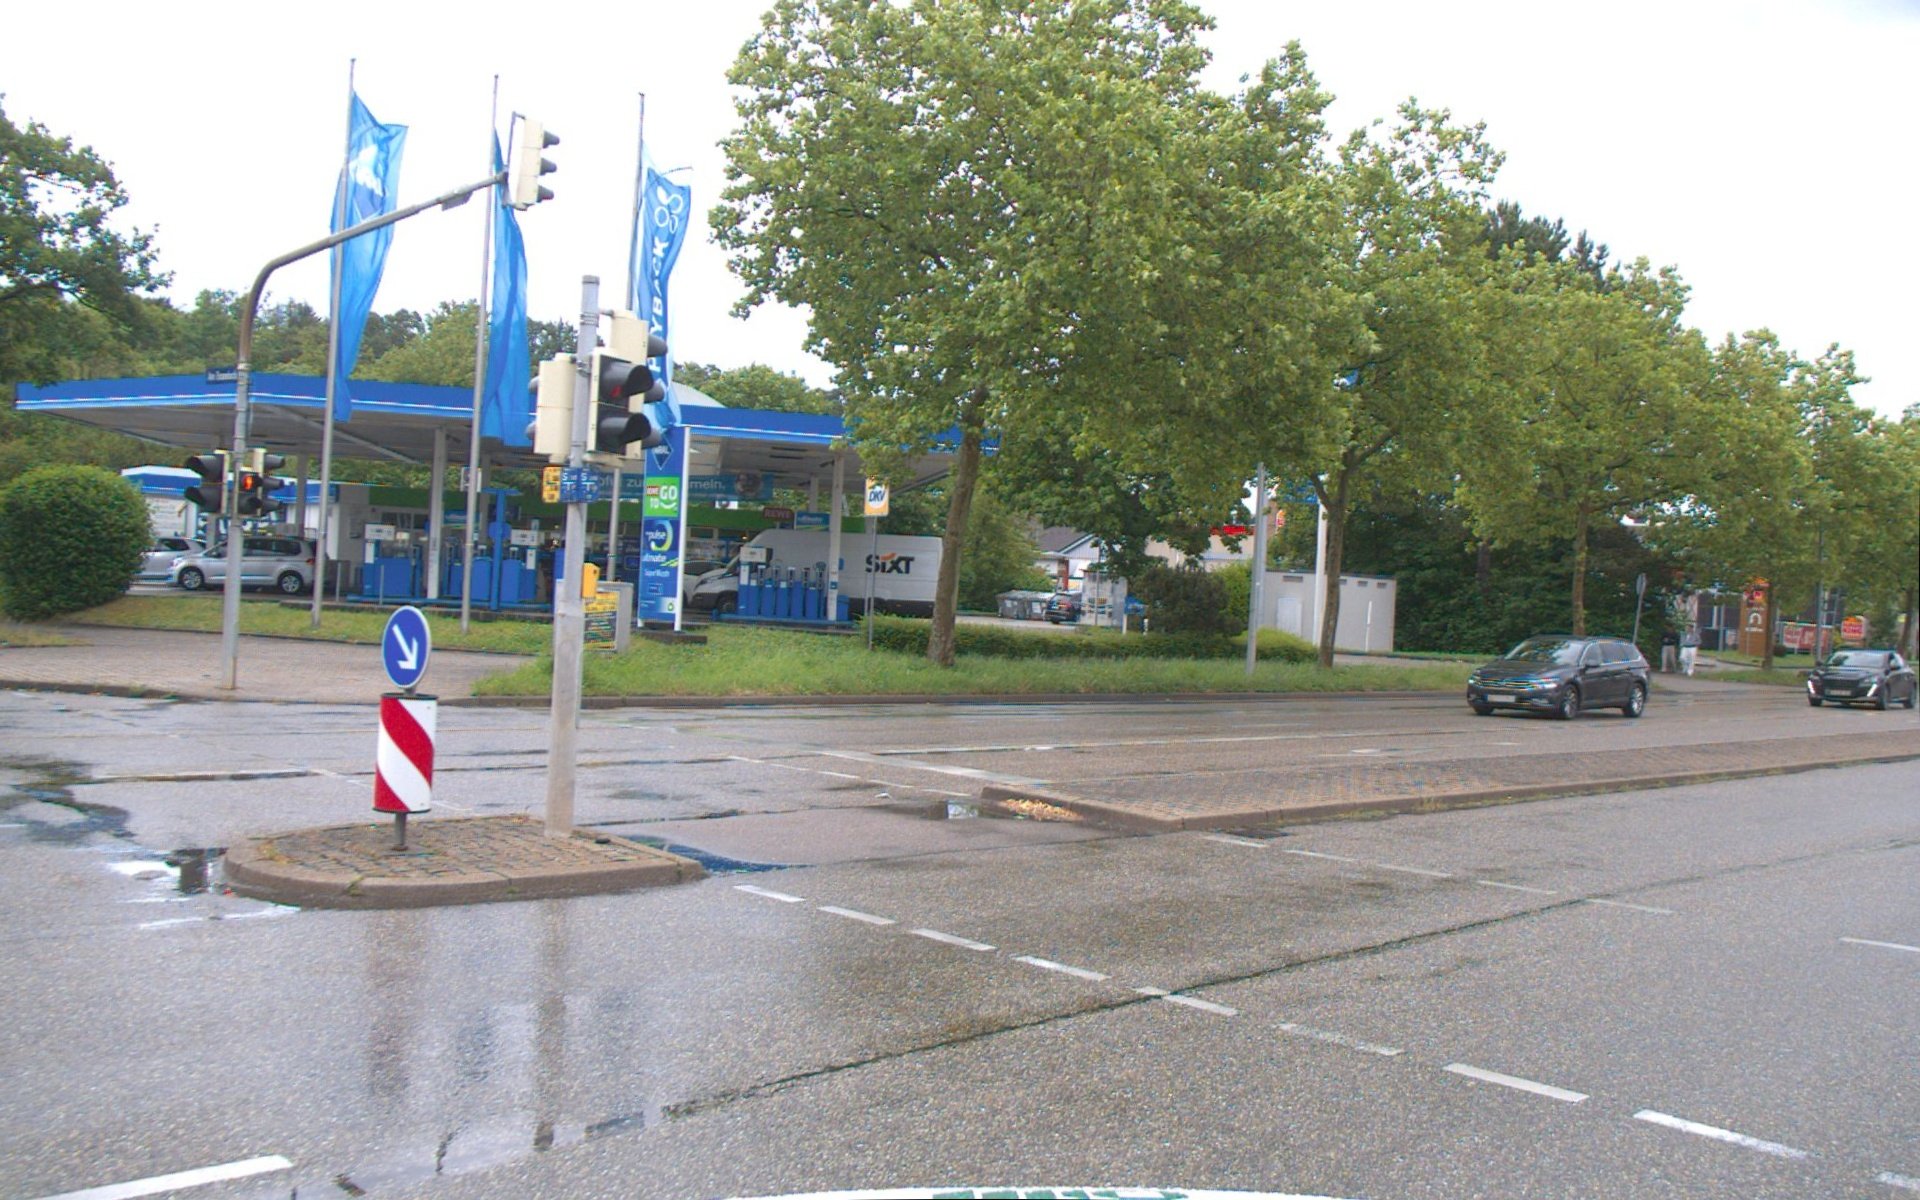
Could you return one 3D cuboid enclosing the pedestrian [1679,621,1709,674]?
[{"bbox_3d":[25.799,1.681,58.158,0.574,1.797,0.661,3,1,-26],"label":"pedestrian"}]

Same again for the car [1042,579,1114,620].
[{"bbox_3d":[5.799,-0.015,80.998,1.956,1.870,3.992,2,0,29],"label":"car"}]

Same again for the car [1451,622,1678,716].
[{"bbox_3d":[11.176,1.265,30.407,4.690,1.535,1.969,3,-1,-42],"label":"car"}]

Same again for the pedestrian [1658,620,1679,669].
[{"bbox_3d":[25.066,1.573,58.522,0.504,1.712,0.537,2,-1,42],"label":"pedestrian"}]

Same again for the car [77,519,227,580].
[{"bbox_3d":[-25.917,-1.598,53.166,3.914,1.758,1.791,2,0,-10],"label":"car"}]

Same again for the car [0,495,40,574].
[{"bbox_3d":[-24.181,-1.636,40.163,3.627,1.828,1.807,2,-1,37],"label":"car"}]

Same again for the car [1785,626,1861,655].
[{"bbox_3d":[44.071,2.062,84.497,1.279,1.175,3.139,3,3,-41],"label":"car"}]

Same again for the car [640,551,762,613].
[{"bbox_3d":[-7.961,-0.551,51.057,3.482,1.609,1.687,4,-1,-5],"label":"car"}]

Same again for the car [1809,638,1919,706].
[{"bbox_3d":[22.449,1.759,40.947,1.619,1.534,3.871,2,-1,41],"label":"car"}]

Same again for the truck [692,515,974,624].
[{"bbox_3d":[-3.606,-0.816,46.802,7.708,2.722,2.149,2,0,-12],"label":"truck"}]

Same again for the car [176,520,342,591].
[{"bbox_3d":[-20.575,-1.320,48.675,4.036,1.838,1.944,3,2,-7],"label":"car"}]
